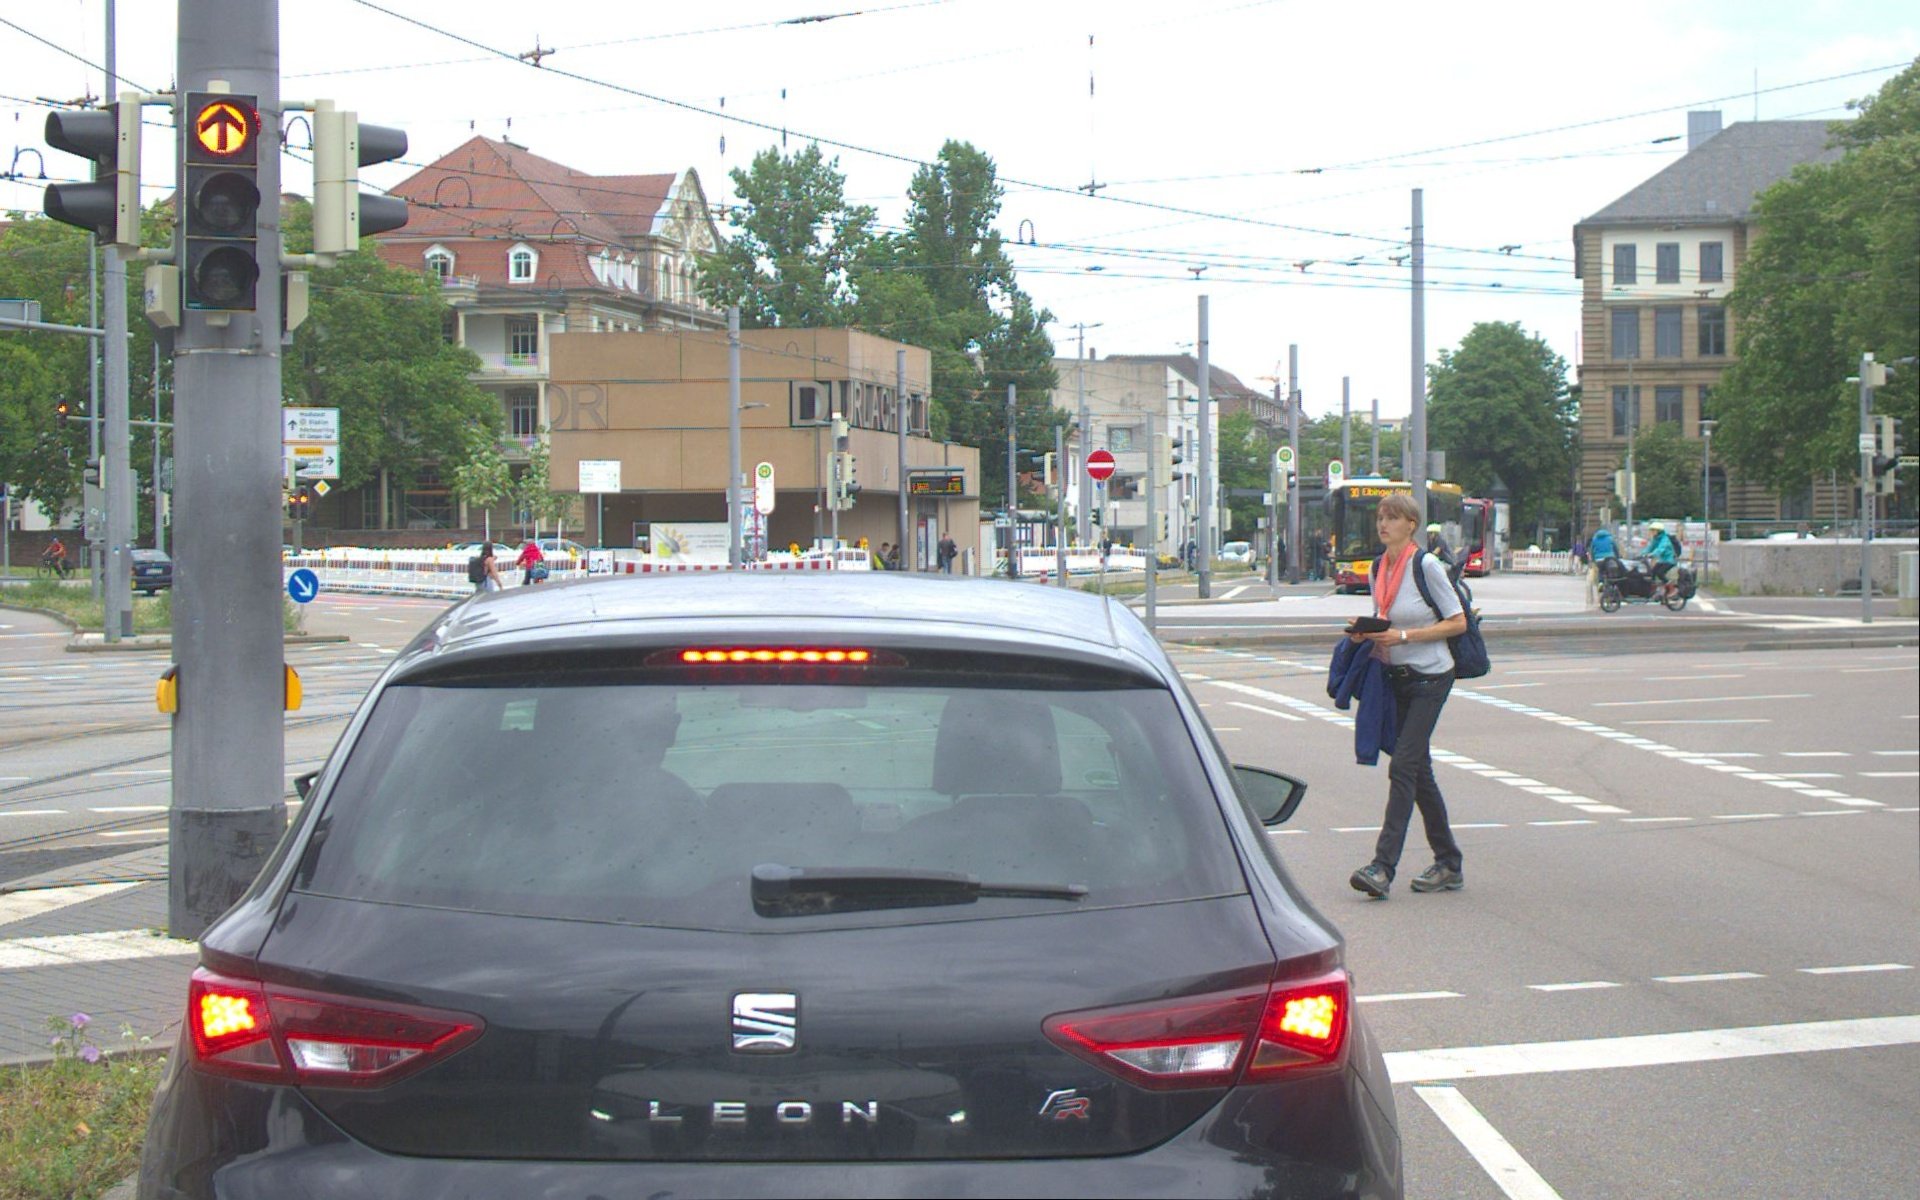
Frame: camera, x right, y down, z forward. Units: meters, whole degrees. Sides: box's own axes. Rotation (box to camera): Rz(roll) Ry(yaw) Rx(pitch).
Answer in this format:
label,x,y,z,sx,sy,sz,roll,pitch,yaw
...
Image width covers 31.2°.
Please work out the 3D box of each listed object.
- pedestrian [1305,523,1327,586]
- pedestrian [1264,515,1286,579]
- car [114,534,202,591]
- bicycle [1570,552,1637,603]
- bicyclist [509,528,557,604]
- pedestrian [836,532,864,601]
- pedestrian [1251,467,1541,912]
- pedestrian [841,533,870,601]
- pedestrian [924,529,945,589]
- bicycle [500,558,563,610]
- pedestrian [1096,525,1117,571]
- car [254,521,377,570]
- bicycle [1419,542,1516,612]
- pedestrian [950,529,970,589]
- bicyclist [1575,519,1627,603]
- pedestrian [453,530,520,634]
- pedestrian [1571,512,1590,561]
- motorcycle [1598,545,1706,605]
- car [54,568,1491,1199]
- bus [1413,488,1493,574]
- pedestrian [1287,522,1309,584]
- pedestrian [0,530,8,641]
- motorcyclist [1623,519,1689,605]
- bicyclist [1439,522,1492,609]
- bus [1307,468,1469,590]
label,x,y,z,sx,sy,sz,roll,pitch,yaw
pedestrian,10.837,-1.380,104.521,0.621,1.911,0.698,0,1,9
pedestrian,9.536,-1.599,104.047,0.621,1.911,0.698,0,1,9
car,-24.455,-1.130,104.744,1.993,1.678,4.001,0,0,-22
bicycle,14.267,-0.502,76.284,0.865,1.101,2.302,0,1,-5
bicyclist,-9.853,-0.790,79.318,0.882,1.726,0.894,0,1,-22
pedestrian,-3.086,-0.940,96.559,0.708,1.911,0.623,0,1,7
pedestrian,1.946,0.375,15.323,1.101,1.900,0.735,0,1,-43
pedestrian,-2.964,-0.939,97.356,0.708,1.911,0.623,0,1,7
pedestrian,-0.813,-1.303,110.071,0.621,1.911,0.710,0,1,3
bicycle,-9.911,-0.374,79.525,0.891,1.174,2.302,0,1,-22
pedestrian,6.094,-2.175,143.121,0.622,1.911,0.709,-1,0,25
car,-23.040,-1.931,123.011,3.987,1.678,2.000,-1,0,1
bicycle,9.798,-0.448,66.359,1.730,1.317,0.645,0,1,-8
pedestrian,0.001,-1.301,109.997,0.621,1.911,0.710,0,1,3
bicyclist,14.247,-0.870,76.445,0.871,1.845,1.048,0,1,-6
pedestrian,-8.837,-0.348,64.179,0.700,1.927,1.028,0,1,38
pedestrian,26.044,-2.664,144.257,0.662,2.007,0.692,0,1,0
motorcycle,13.362,-0.489,66.355,2.135,1.135,0.744,-1,1,-33
car,-0.359,0.685,5.993,1.704,1.444,3.813,0,1,-4
bus,19.657,-2.721,136.645,2.655,3.272,10.990,0,1,11
pedestrian,10.396,-1.441,105.691,0.621,1.911,0.710,0,1,3
pedestrian,-17.252,-0.253,60.146,1.027,1.927,0.701,-1,1,-25
motorcyclist,13.444,-0.741,66.406,0.977,1.644,0.750,-1,1,-33
bicyclist,9.749,-0.676,66.353,0.854,1.667,0.654,0,1,-8
bus,11.752,-1.915,93.435,2.962,3.112,11.531,0,1,14
